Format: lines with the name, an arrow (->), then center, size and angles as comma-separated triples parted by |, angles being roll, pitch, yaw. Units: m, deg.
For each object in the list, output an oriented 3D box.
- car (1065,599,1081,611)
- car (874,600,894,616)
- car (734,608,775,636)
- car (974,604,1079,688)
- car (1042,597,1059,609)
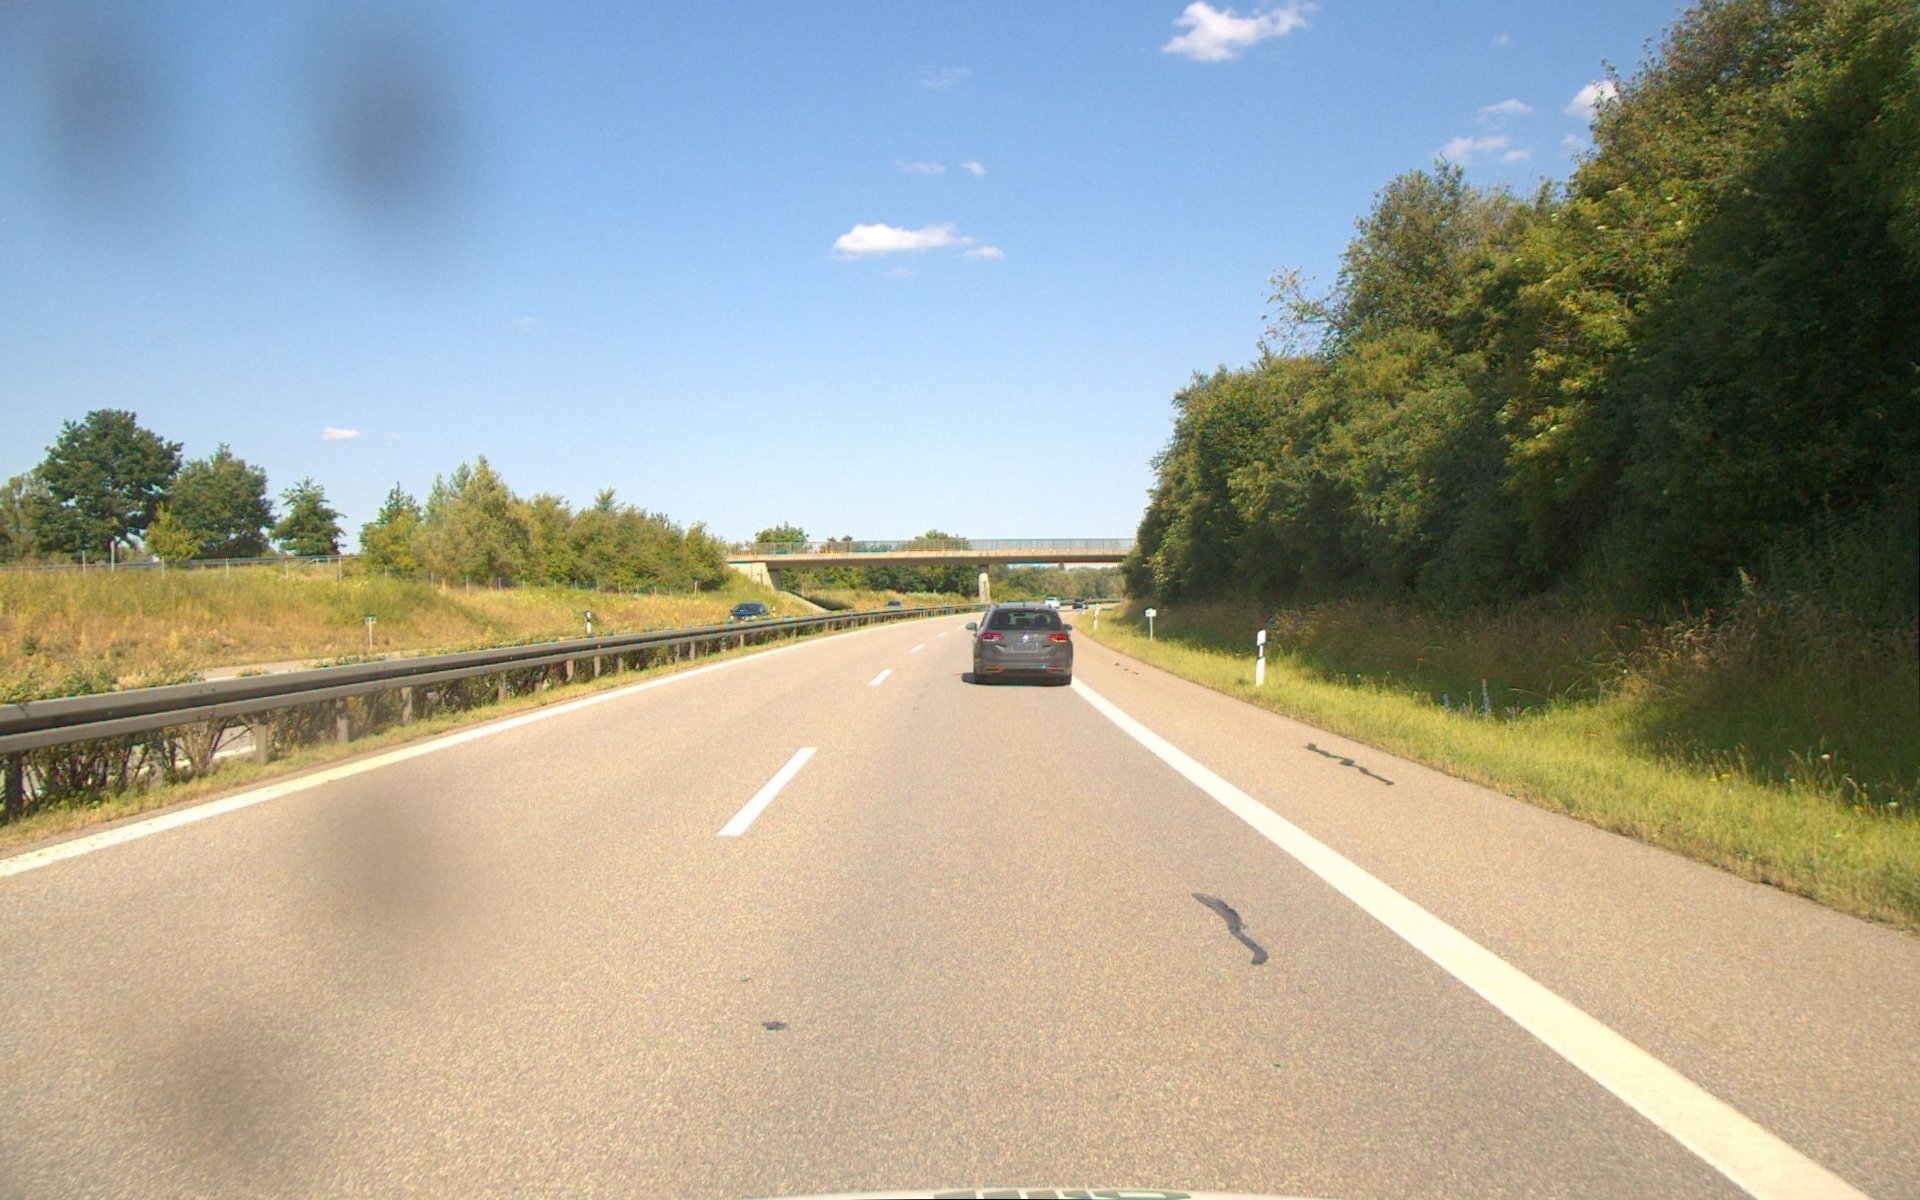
car -> 14.519, 0.678, 212.442 | 1.676, 1.411, 3.354 | 2, -2, -1
car -> -7.464, 0.791, 163.268 | 1.794, 1.534, 4.541 | 1, -1, 0
car -> -11.792, 1.274, 95.240 | 1.794, 1.534, 4.541 | 1, -1, 0
car -> 1.160, 0.794, 30.262 | 1.754, 1.368, 4.000 | 2, 0, 0
car -> 11.668, 0.415, 213.166 | 1.966, 1.368, 4.000 | 2, -2, 1
